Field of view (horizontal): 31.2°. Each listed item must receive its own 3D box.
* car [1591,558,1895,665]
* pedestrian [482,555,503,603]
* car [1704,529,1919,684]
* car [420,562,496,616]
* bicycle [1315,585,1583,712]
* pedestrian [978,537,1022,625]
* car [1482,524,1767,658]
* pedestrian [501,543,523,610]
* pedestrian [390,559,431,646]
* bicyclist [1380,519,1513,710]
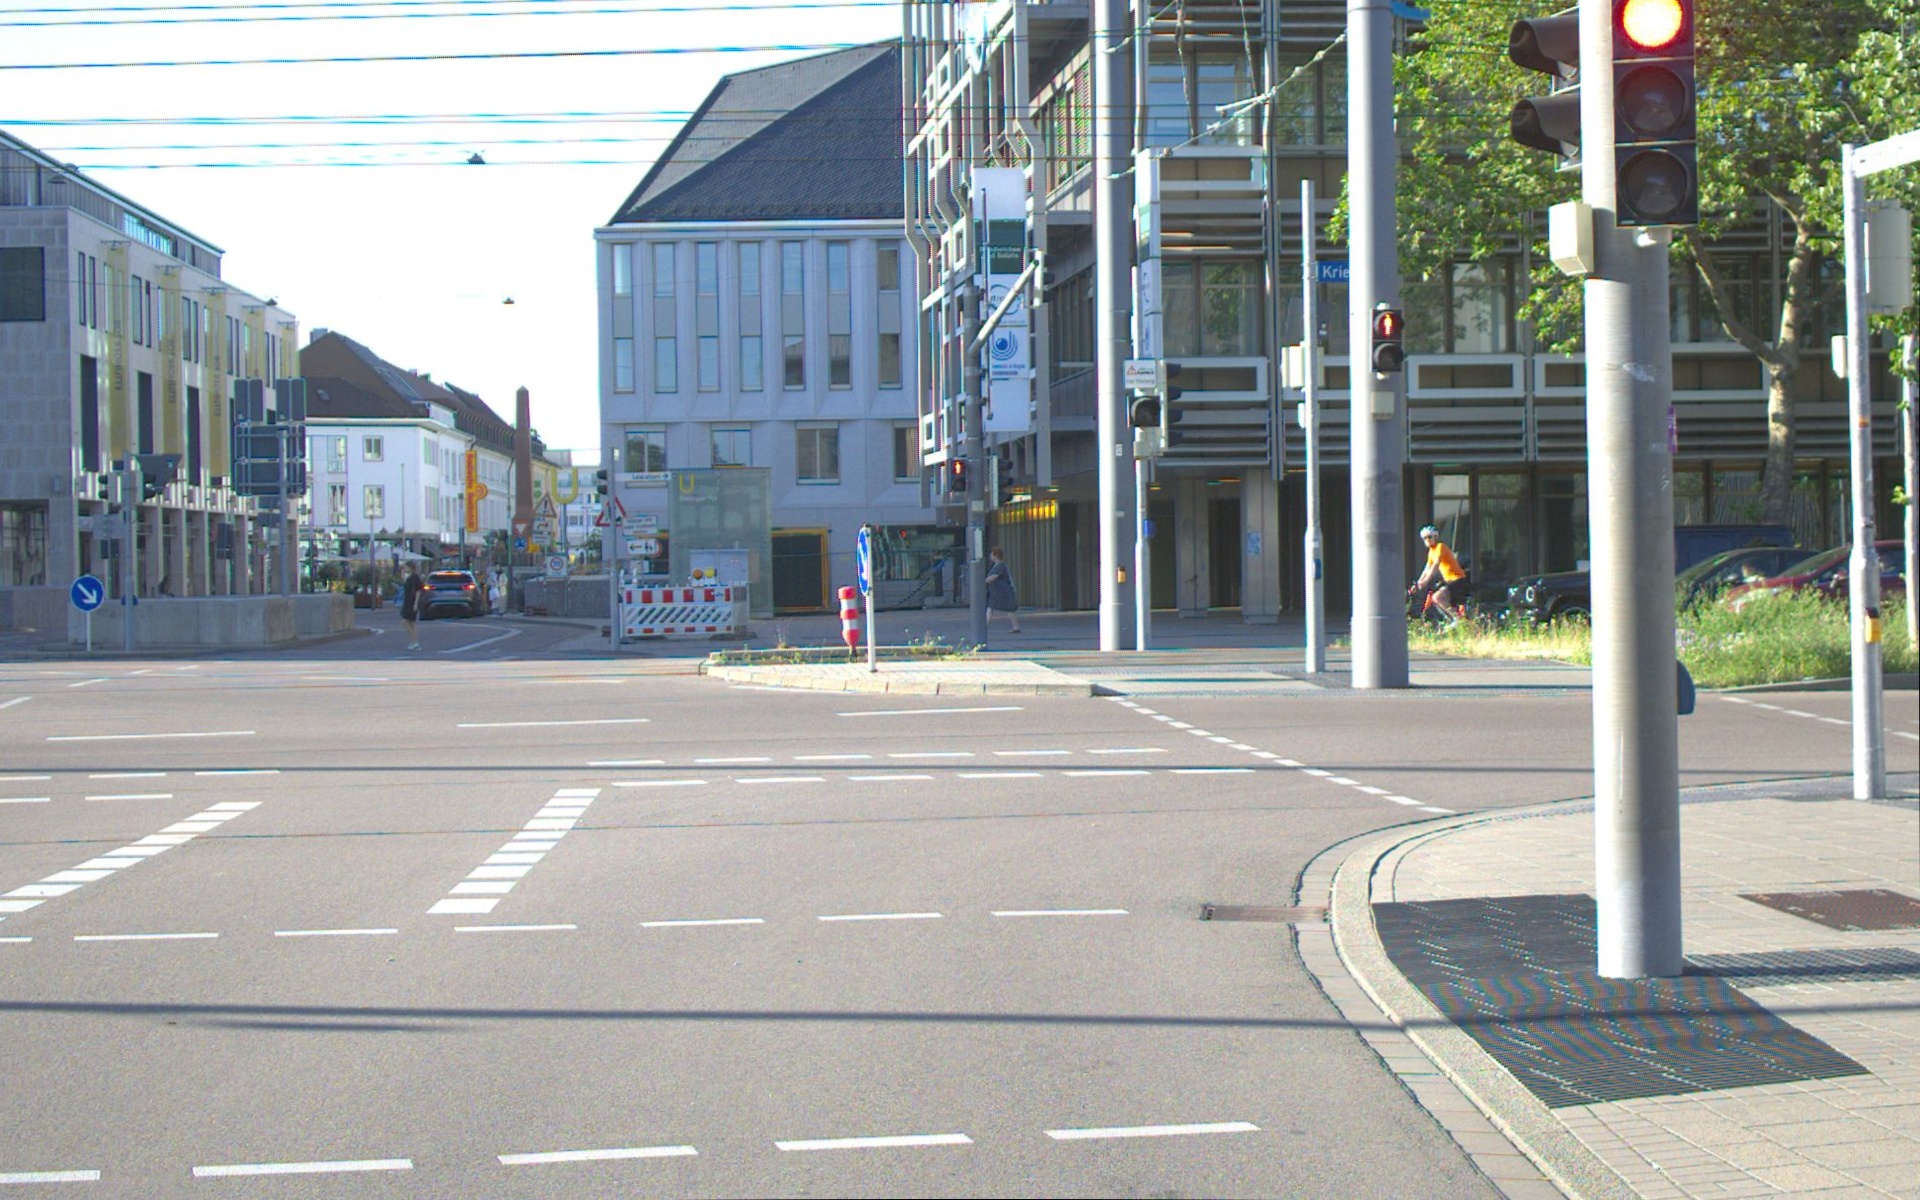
[{"bbox_3d":[11.499,0.155,50.653,3.986,1.503,1.868,0,1,-3],"label":"car"},{"bbox_3d":[-14.019,-0.627,103.058,0.609,1.406,0.570,-1,1,-6],"label":"pedestrian"},{"bbox_3d":[12.293,0.085,46.401,3.986,2.007,2.000,1,0,-3],"label":"car"},{"bbox_3d":[-15.802,-0.355,108.415,2.199,1.601,4.327,-1,1,-6],"label":"car"},{"bbox_3d":[6.698,0.647,47.139,3.490,1.653,0.932,-1,1,-9],"label":"bicycle"},{"bbox_3d":[0.751,-0.365,65.000,0.729,1.652,0.651,-1,1,-7],"label":"pedestrian"},{"bbox_3d":[10.350,-0.146,53.770,3.986,2.007,2.000,1,0,-3],"label":"car"},{"bbox_3d":[-13.453,-0.702,103.316,0.609,2.007,0.570,-1,1,-6],"label":"pedestrian"},{"bbox_3d":[-10.533,0.044,65.897,0.663,1.652,0.755,-1,1,-3],"label":"pedestrian"},{"bbox_3d":[6.667,0.188,47.132,1.567,2.571,0.932,-1,1,-9],"label":"bicyclist"}]
